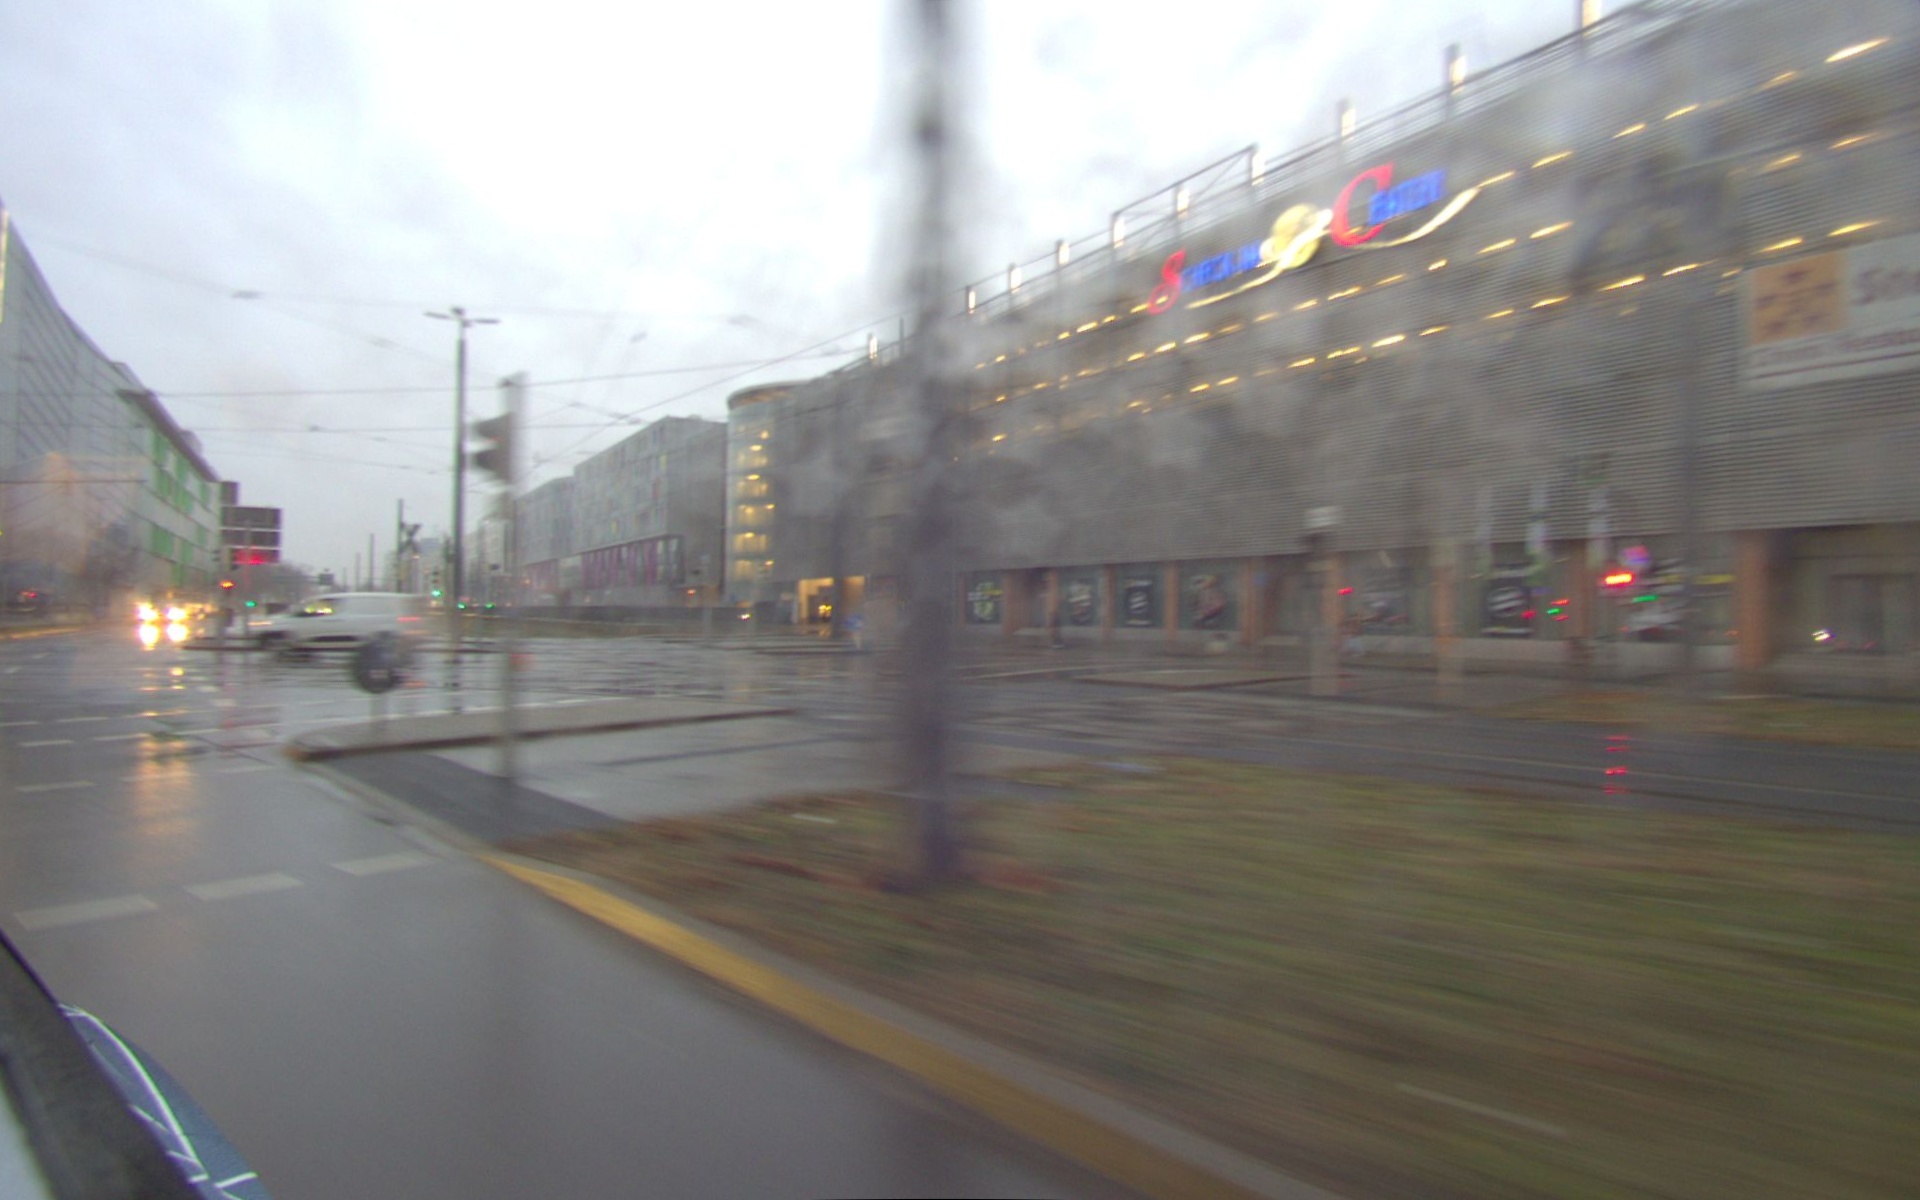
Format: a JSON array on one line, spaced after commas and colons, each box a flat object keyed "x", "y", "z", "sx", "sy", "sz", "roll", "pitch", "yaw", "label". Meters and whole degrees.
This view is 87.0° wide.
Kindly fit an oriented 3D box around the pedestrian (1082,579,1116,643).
[{"x": 6.461, "y": 0.499, "z": 47.117, "sx": 1.095, "sy": 2.947, "sz": 0.969, "roll": 2, "pitch": 0, "yaw": -31, "label": "pedestrian"}]

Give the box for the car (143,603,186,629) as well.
[{"x": -52.333, "y": 1.055, "z": 66.641, "sx": 1.803, "sy": 1.674, "sz": 4.011, "roll": 1, "pitch": -1, "yaw": -32, "label": "car"}]

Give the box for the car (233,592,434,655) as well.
[{"x": -17.908, "y": 0.682, "z": 29.146, "sx": 4.534, "sy": 1.732, "sz": 1.934, "roll": 1, "pitch": -1, "yaw": -12, "label": "car"}]

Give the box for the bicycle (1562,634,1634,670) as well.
[{"x": 22.290, "y": 1.793, "z": 35.385, "sx": 0.469, "sy": 1.130, "sz": 2.097, "roll": 2, "pitch": 0, "yaw": -32, "label": "bicycle"}]

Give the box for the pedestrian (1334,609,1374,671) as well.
[{"x": 15.979, "y": 1.603, "z": 41.057, "sx": 0.949, "sy": 2.457, "sz": 1.117, "roll": 2, "pitch": 0, "yaw": -31, "label": "pedestrian"}]
